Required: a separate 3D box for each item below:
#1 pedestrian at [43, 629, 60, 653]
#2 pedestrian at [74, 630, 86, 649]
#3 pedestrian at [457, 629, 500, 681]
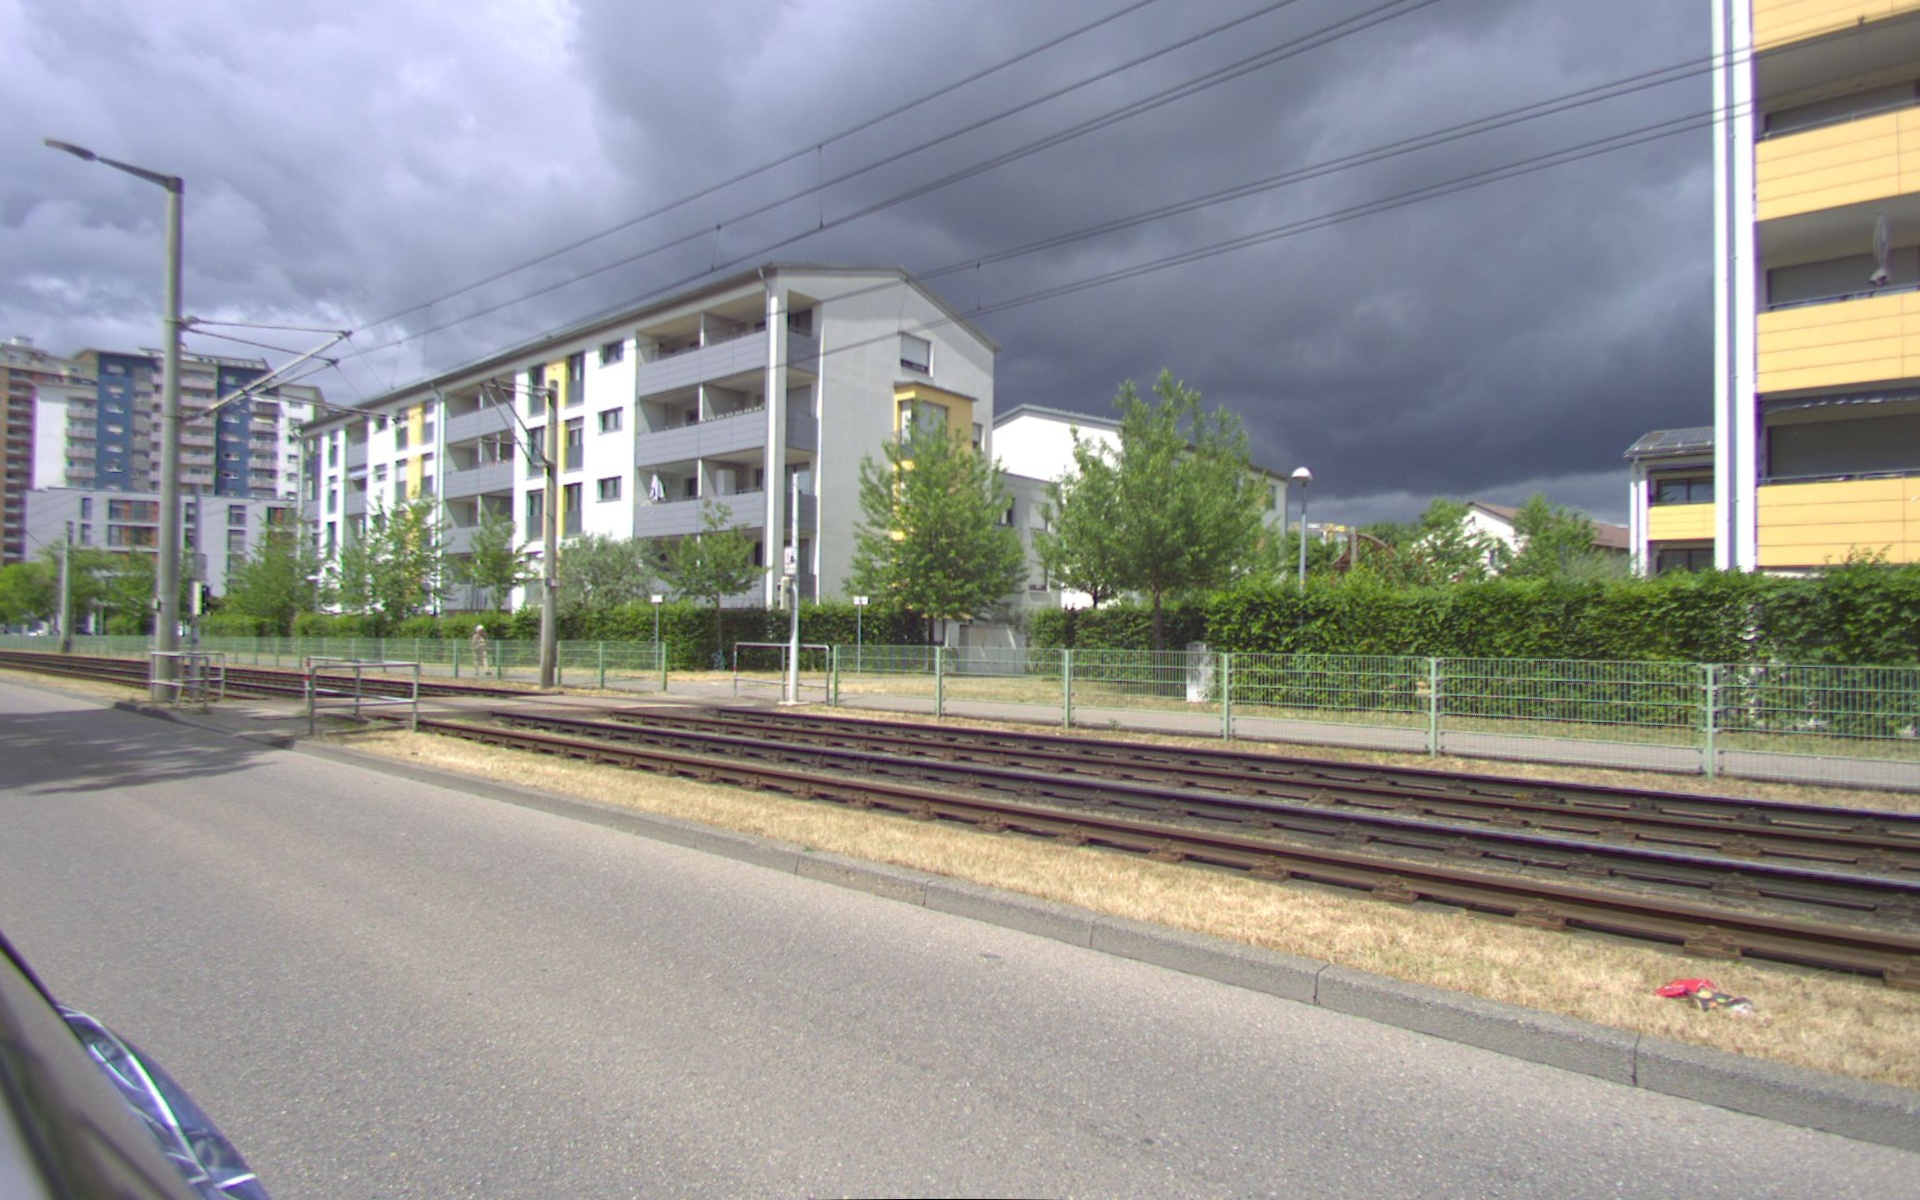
[{"bbox_3d":[-63.773,2.865,71.057,0.937,1.625,0.747,-2,-2,38],"label":"pedestrian"},{"bbox_3d":[-77.947,3.464,89.619,0.537,1.666,0.740,-2,-2,39],"label":"pedestrian"},{"bbox_3d":[-14.054,1.596,29.556,0.994,1.494,0.788,-2,-2,39],"label":"pedestrian"}]
